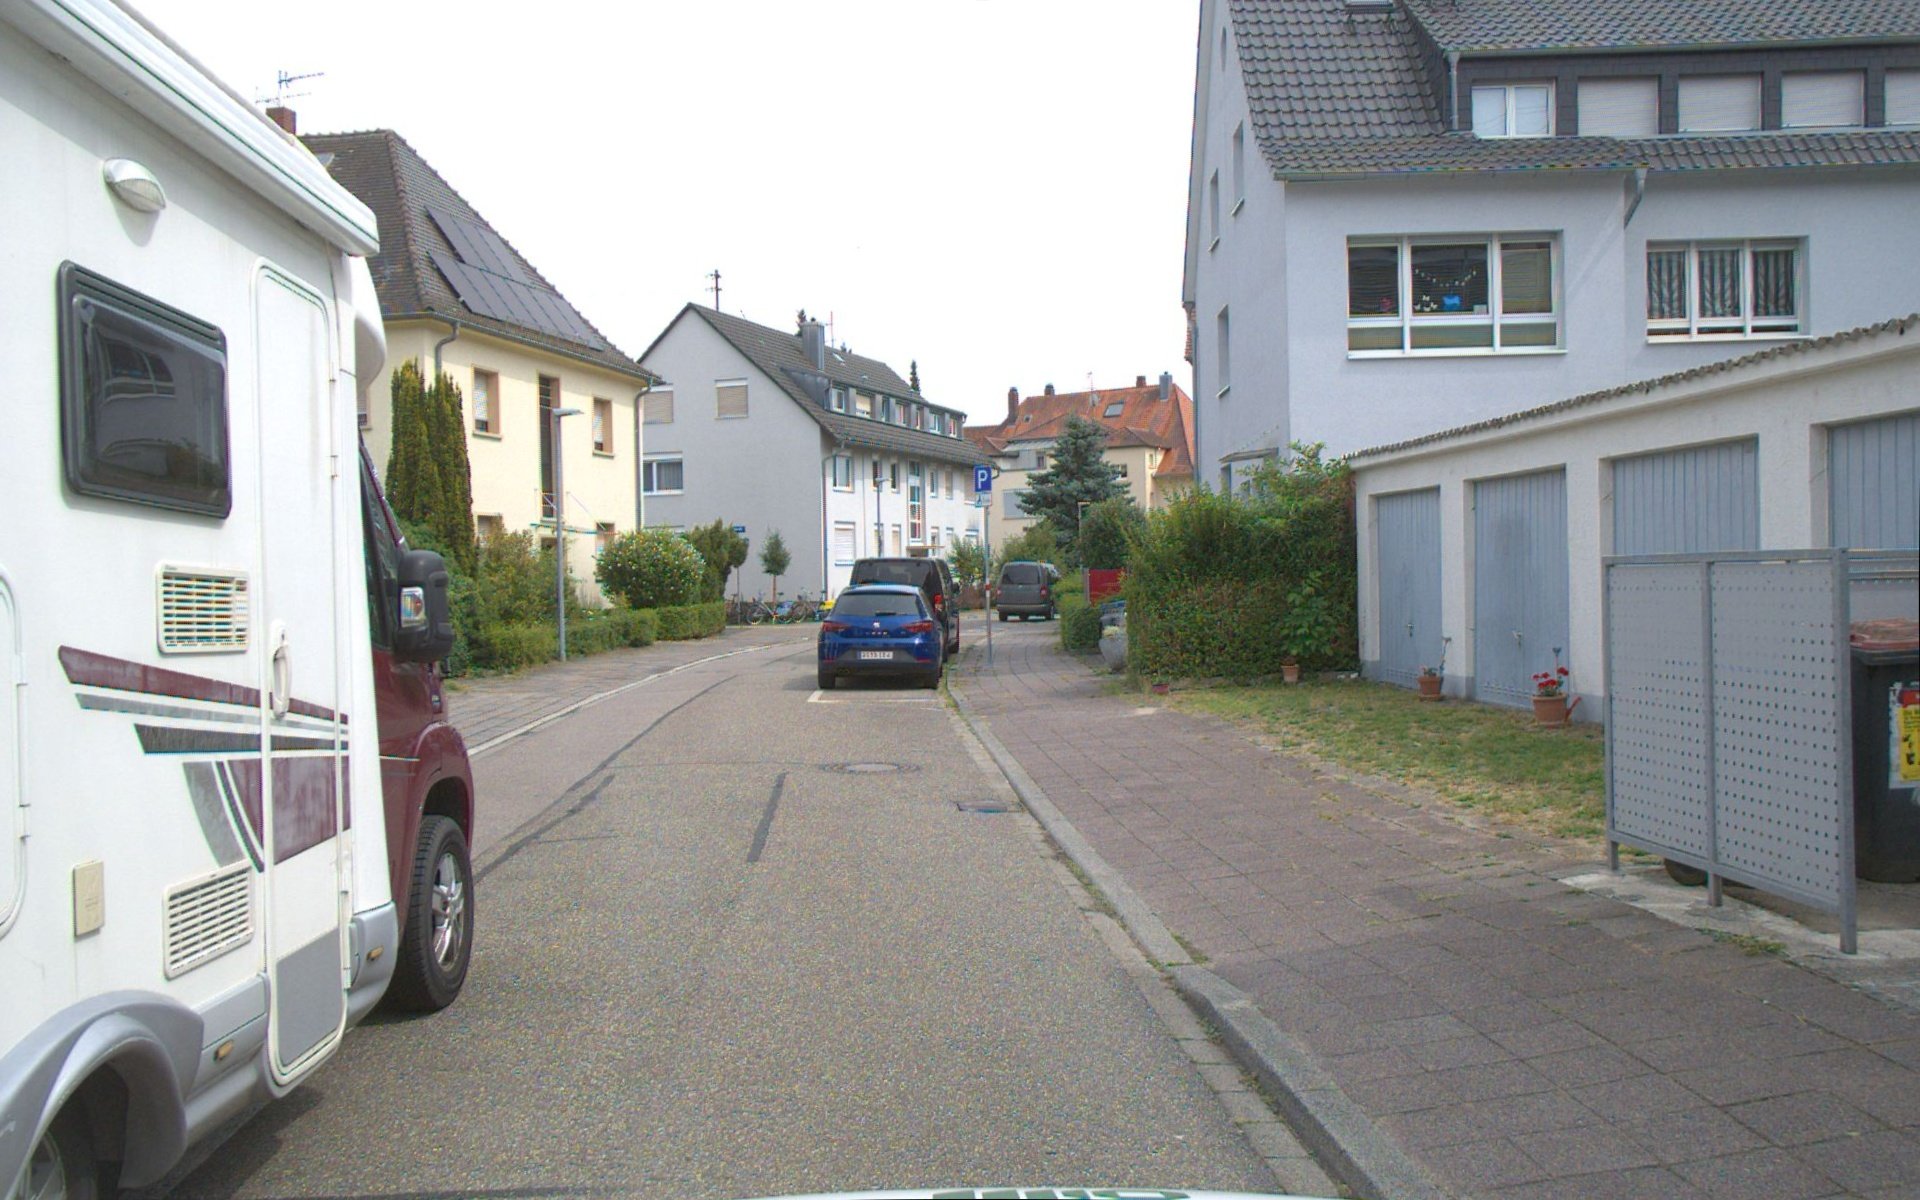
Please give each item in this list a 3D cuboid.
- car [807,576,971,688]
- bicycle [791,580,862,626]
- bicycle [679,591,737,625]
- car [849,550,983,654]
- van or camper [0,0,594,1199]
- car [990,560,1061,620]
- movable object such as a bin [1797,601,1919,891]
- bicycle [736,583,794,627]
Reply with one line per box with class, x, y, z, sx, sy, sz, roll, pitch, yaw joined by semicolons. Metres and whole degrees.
car;-0.958;0.471;24.476;1.686;1.477;4.003;-2;-1;8
bicycle;-4.541;0.096;56.313;2.317;1.486;0.713;-1;-1;-26
bicycle;-8.377;0.262;55.015;1.804;1.098;0.668;-1;-1;-16
car;-0.755;0.069;31.424;1.814;1.773;4.349;-2;-1;8
van or camper;-2.671;0.079;3.702;2.355;2.773;6.160;-2;-1;-1
car;2.146;-0.279;53.170;1.814;1.773;4.349;-2;-1;8
movable object such as a bin;4.052;0.583;7.007;0.568;1.157;0.754;-1;-1;-4
bicycle;-6.514;0.165;55.286;1.804;1.397;0.668;-1;-1;-16
